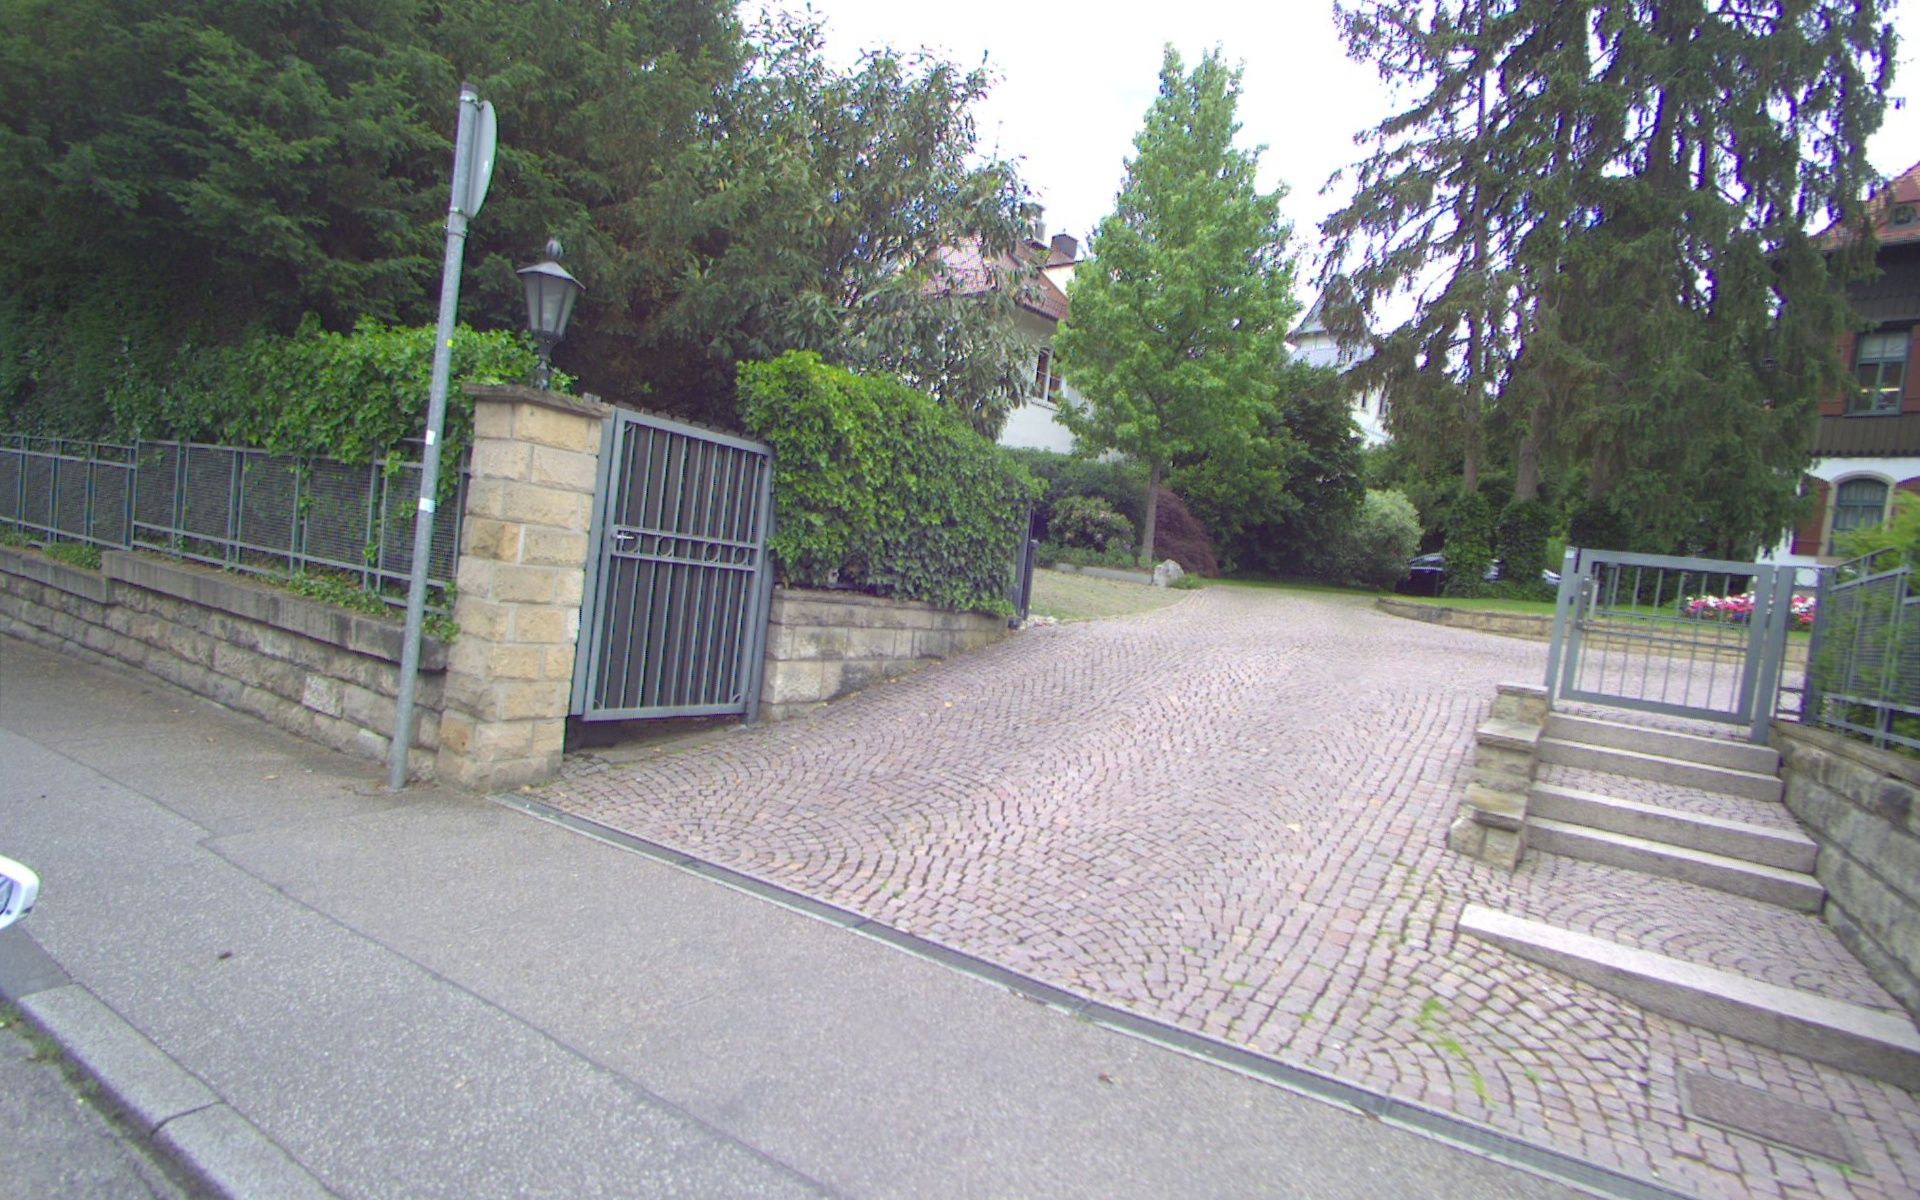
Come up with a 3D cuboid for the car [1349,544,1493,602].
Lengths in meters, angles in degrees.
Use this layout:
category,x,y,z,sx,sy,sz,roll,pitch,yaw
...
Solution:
category,x,y,z,sx,sy,sz,roll,pitch,yaw
car,13.278,-0.815,29.129,1.457,1.252,3.377,1,7,-36
